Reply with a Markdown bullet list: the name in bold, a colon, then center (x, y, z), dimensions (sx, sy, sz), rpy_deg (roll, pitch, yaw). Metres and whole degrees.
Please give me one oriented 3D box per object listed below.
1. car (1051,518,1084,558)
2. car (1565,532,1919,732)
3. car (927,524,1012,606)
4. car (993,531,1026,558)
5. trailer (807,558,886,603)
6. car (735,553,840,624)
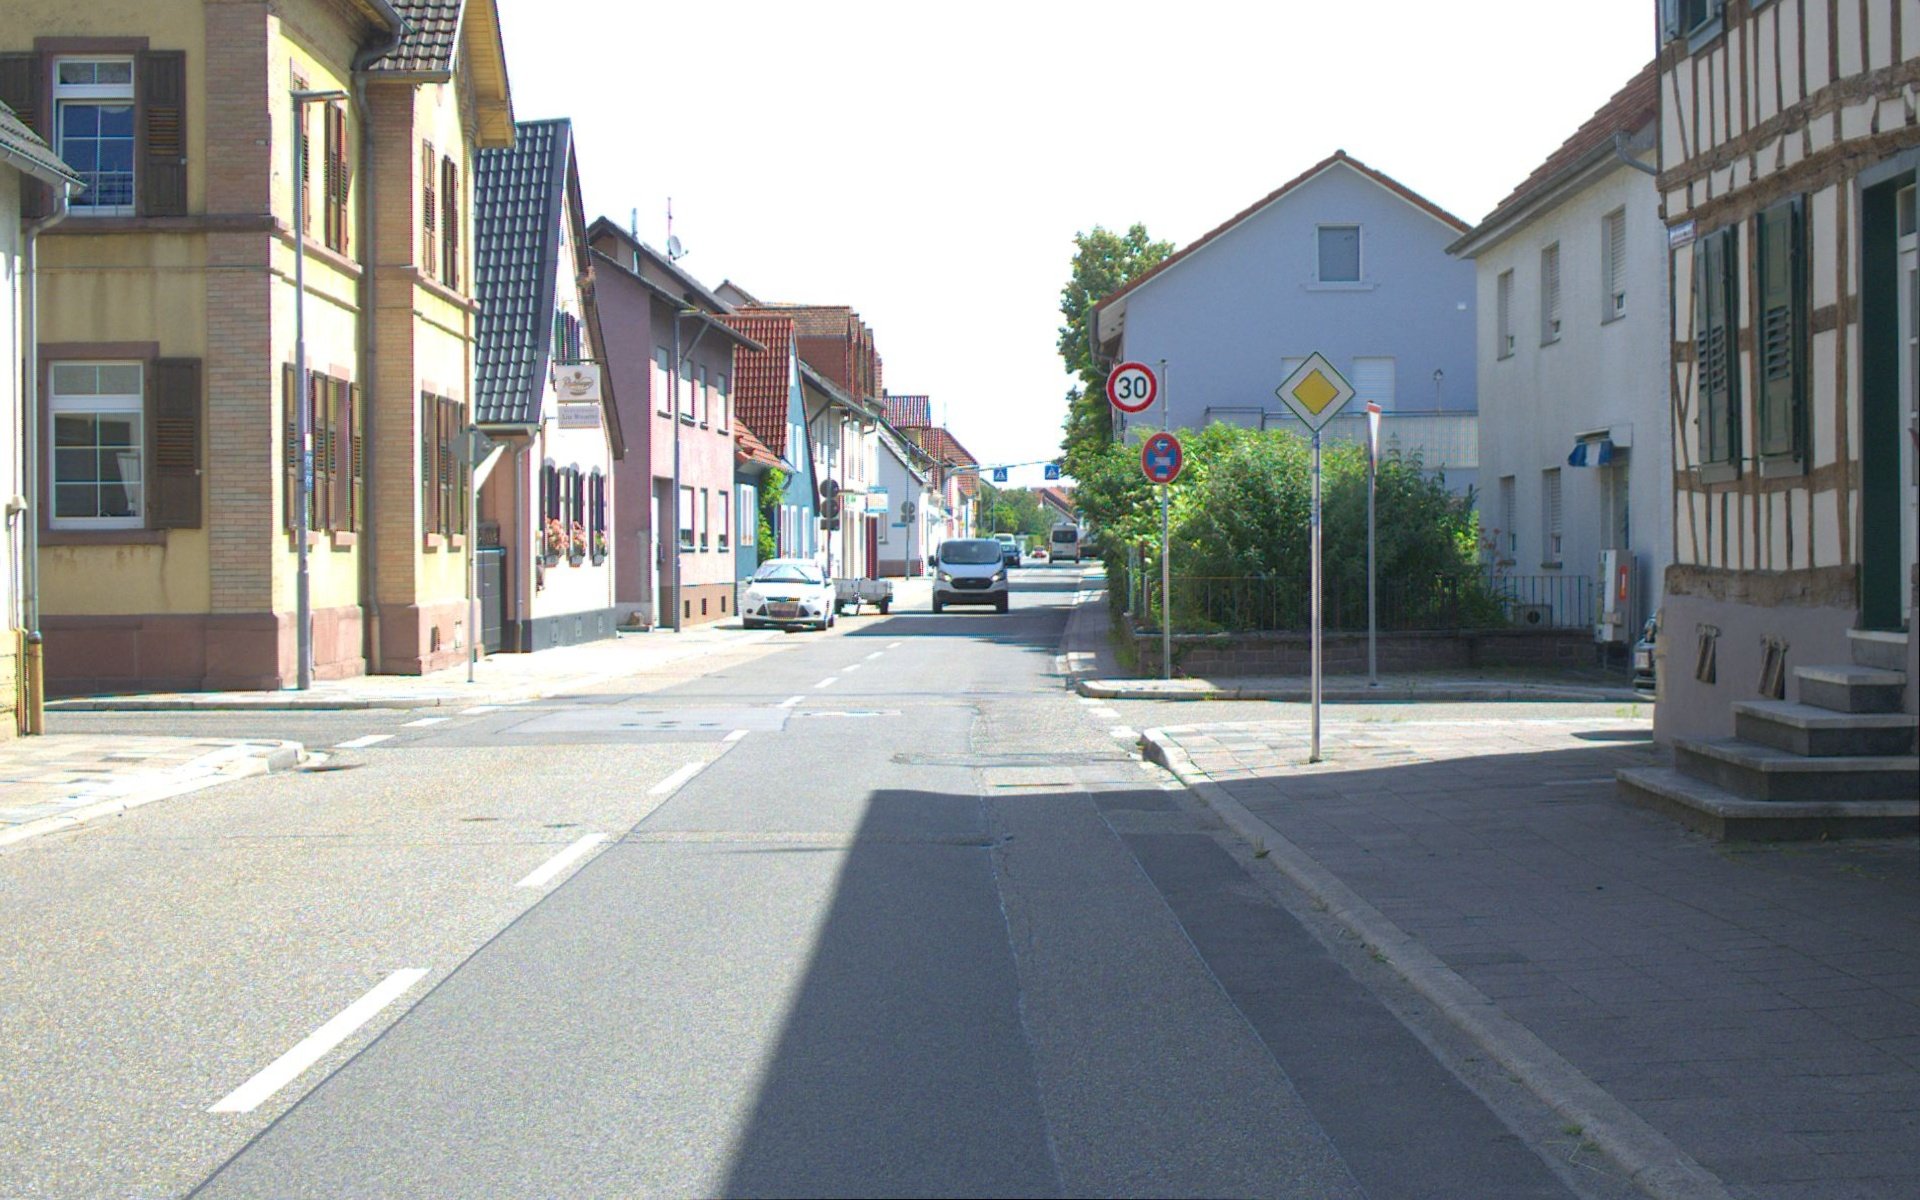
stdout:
- **car**: center (7.012, -4.031, 224.373), dimensions (2.017, 2.559, 4.000), rpy_deg (-1, 1, 0)
- **car**: center (6.865, 0.203, 26.442), dimensions (3.986, 1.437, 2.000), rpy_deg (-1, 1, -3)
- **car**: center (0.224, -0.916, 91.487), dimensions (2.158, 2.072, 4.000), rpy_deg (-1, 0, -1)
- **car**: center (2.895, -3.257, 200.825), dimensions (1.867, 1.539, 3.838), rpy_deg (-1, 1, 0)
- **trailer**: center (-2.969, -0.524, 90.488), dimensions (1.993, 1.086, 4.000), rpy_deg (-1, 1, -1)
- **car**: center (-3.673, -0.273, 73.720), dimensions (1.993, 1.437, 4.000), rpy_deg (-1, 1, 0)
